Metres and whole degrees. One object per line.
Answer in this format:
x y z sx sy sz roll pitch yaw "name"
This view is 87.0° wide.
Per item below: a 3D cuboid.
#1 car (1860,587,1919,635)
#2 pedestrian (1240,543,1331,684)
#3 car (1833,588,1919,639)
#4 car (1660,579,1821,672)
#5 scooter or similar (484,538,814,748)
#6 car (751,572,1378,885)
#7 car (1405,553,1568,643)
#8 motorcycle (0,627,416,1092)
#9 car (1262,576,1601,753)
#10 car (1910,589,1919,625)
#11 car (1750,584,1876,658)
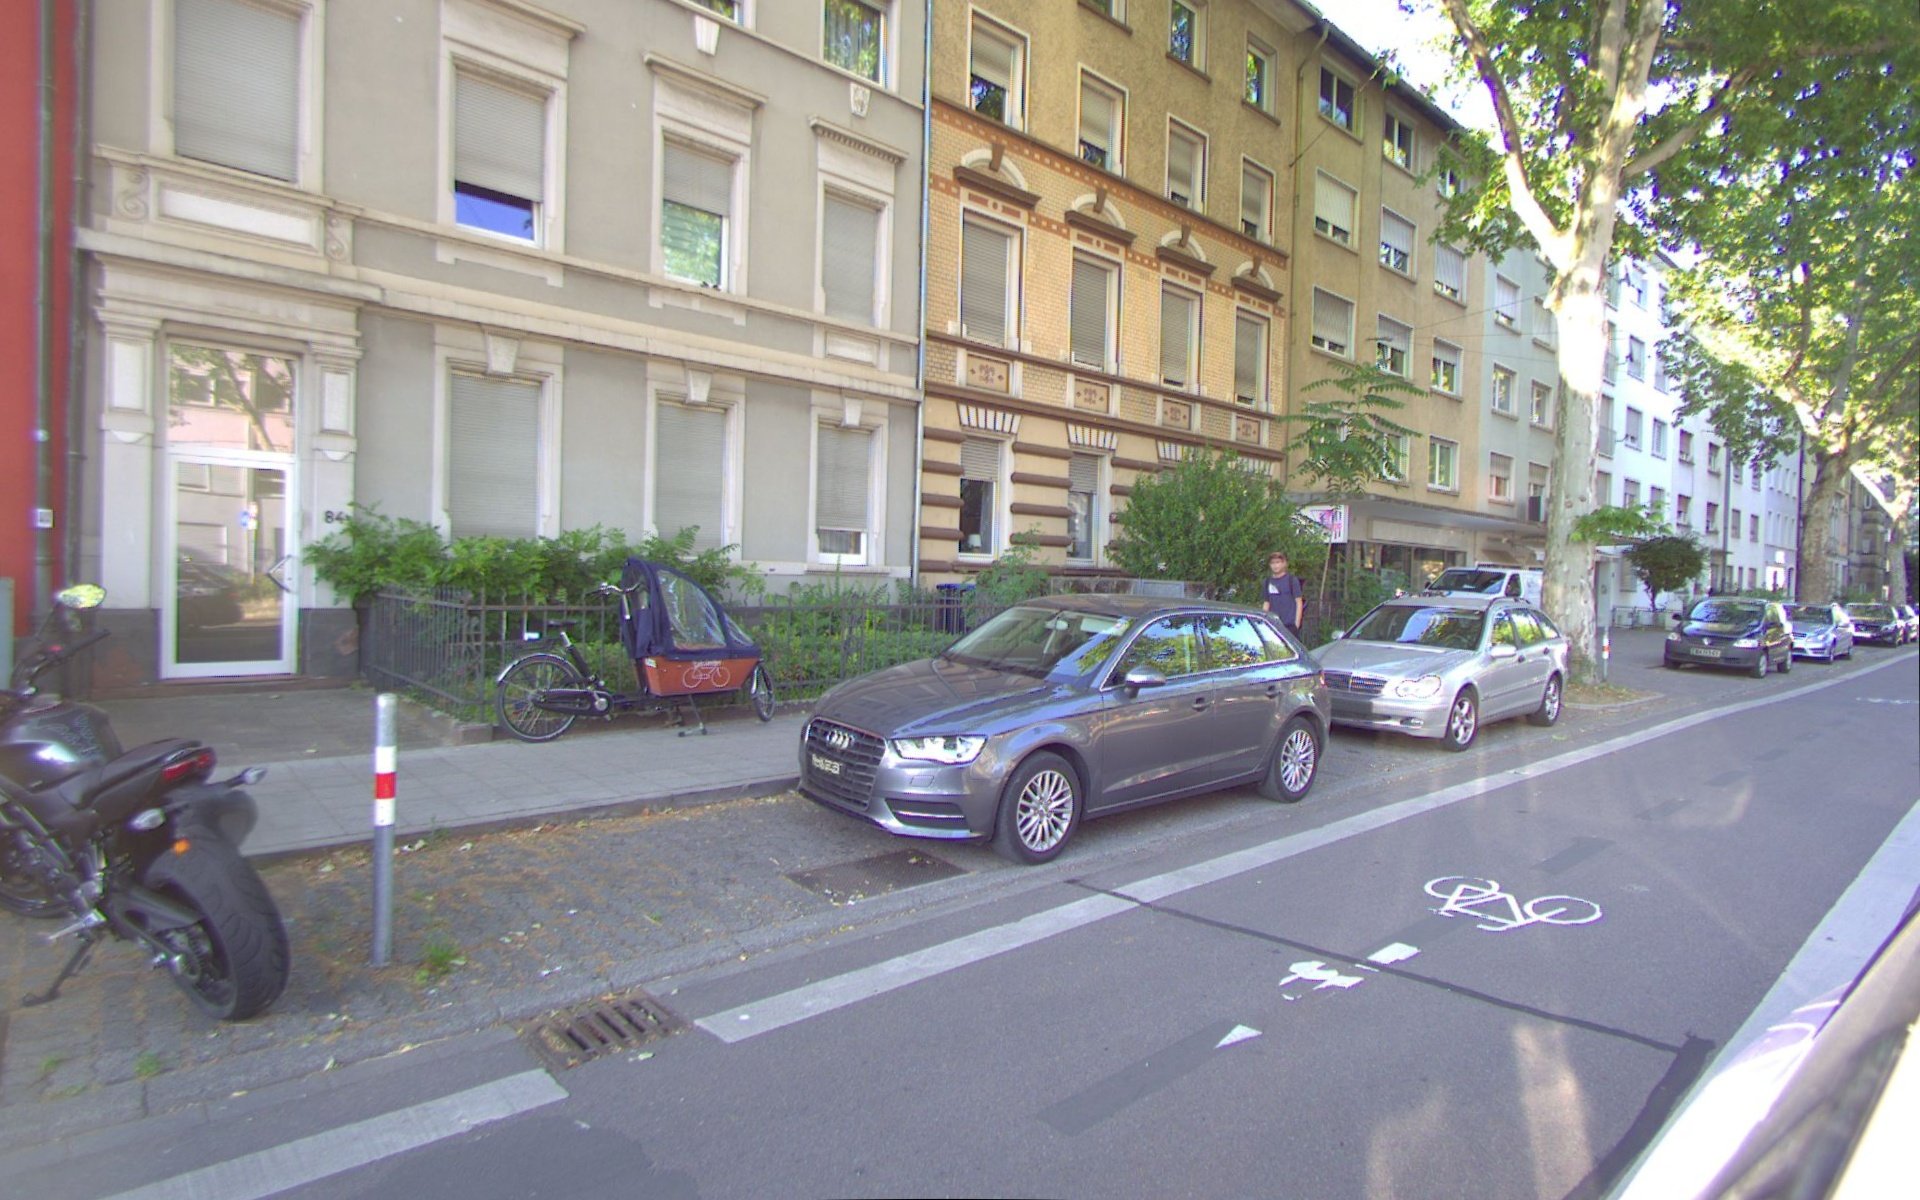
35.360 0.382 38.003 4.295 1.628 1.802 0 4 -42 "car"
4.204 0.149 13.081 0.802 1.731 0.728 -1 4 -41 "pedestrian"
31.429 0.420 34.590 4.295 1.520 1.802 0 4 -42 "car"
16.108 0.446 20.814 4.295 1.628 1.802 0 4 -42 "car"
-2.442 0.293 8.235 2.500 1.488 0.666 0 2 -41 "scooter or similar"
0.934 0.601 6.973 4.293 1.418 1.802 0 4 -41 "car"
12.801 -0.079 24.495 4.597 1.897 1.932 0 4 -42 "car"
-3.016 0.754 3.583 2.188 1.124 0.659 4 2 23 "motorcycle"
5.333 0.543 11.150 4.436 1.472 1.801 0 4 -43 "car"
46.720 0.378 48.132 4.034 1.628 1.802 0 4 -42 "car"
21.822 0.465 25.834 4.295 1.628 1.802 0 4 -42 "car"
